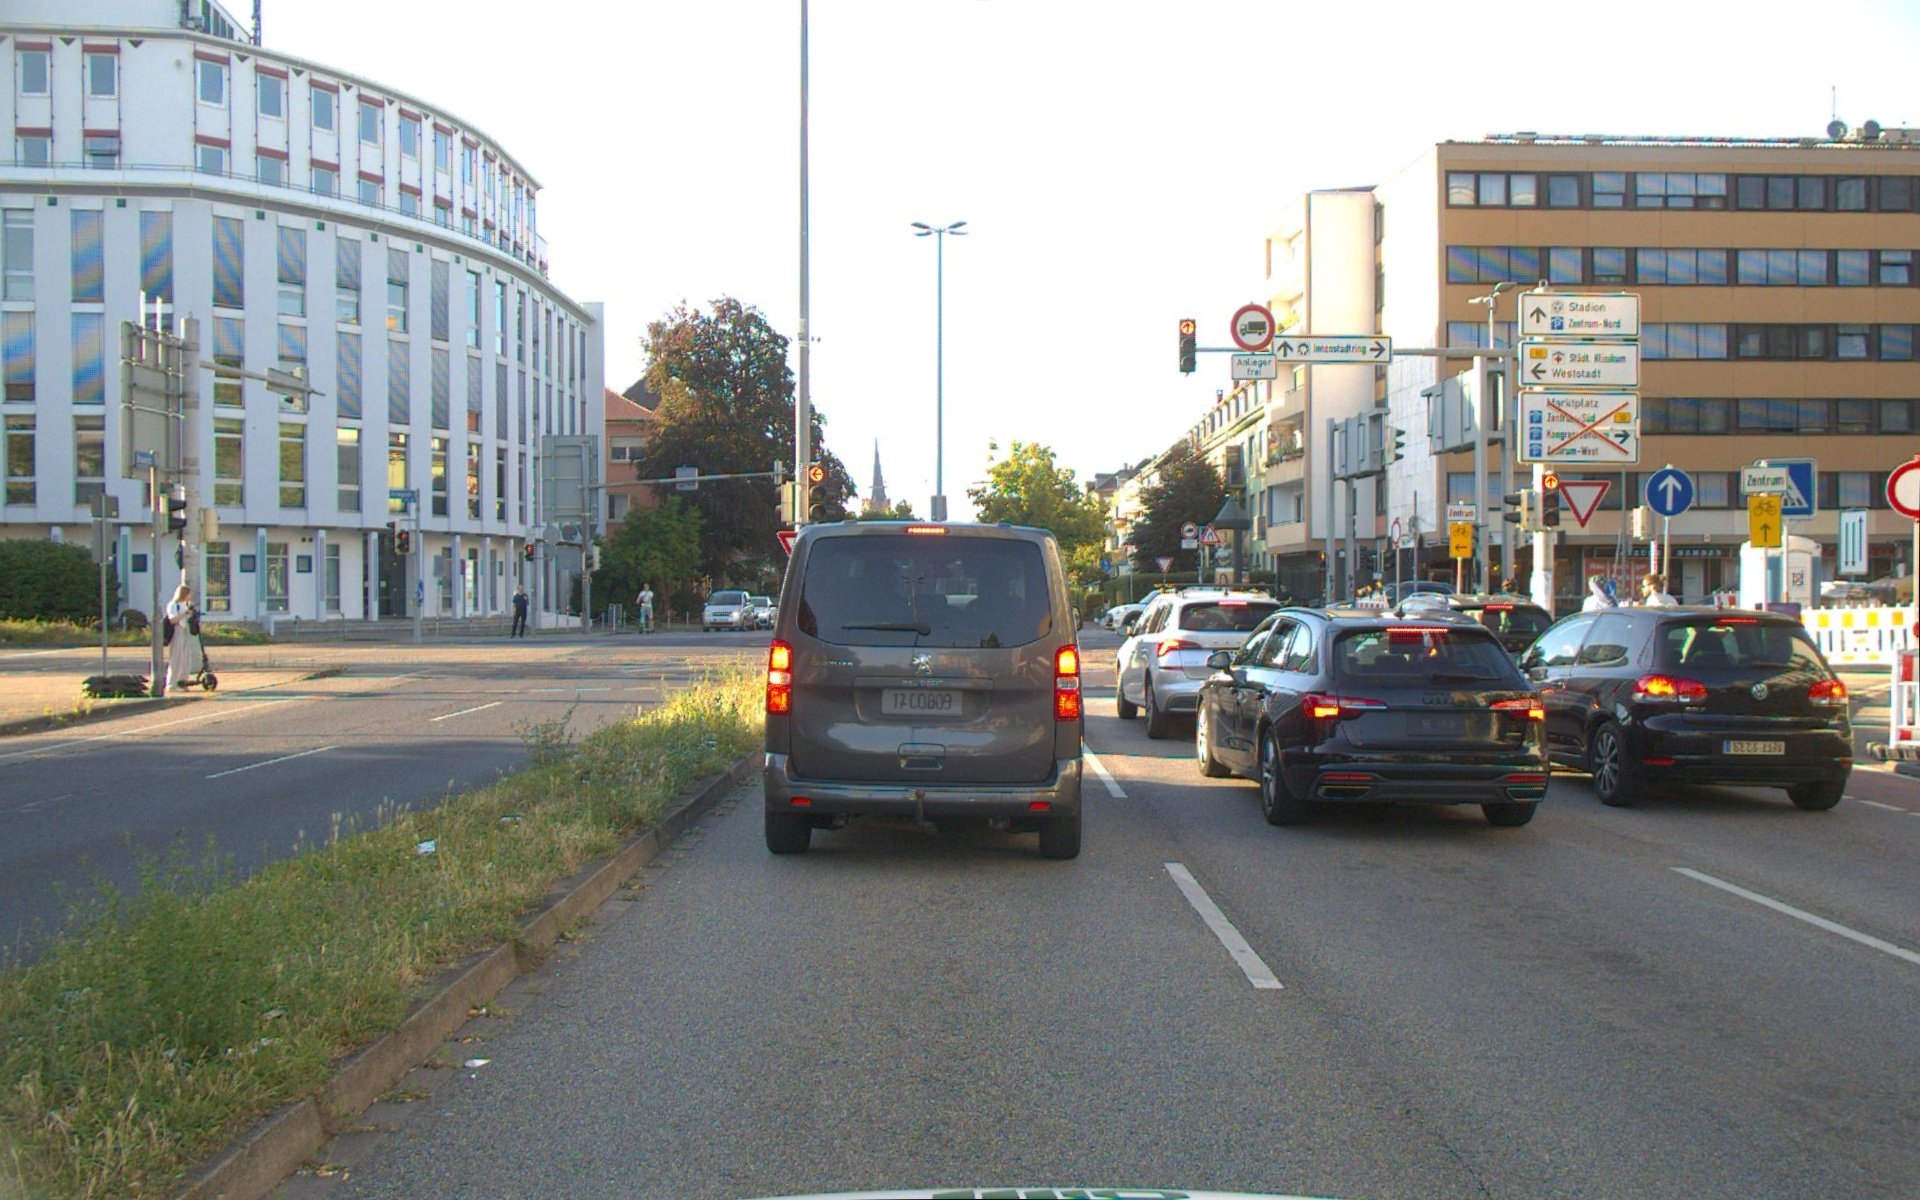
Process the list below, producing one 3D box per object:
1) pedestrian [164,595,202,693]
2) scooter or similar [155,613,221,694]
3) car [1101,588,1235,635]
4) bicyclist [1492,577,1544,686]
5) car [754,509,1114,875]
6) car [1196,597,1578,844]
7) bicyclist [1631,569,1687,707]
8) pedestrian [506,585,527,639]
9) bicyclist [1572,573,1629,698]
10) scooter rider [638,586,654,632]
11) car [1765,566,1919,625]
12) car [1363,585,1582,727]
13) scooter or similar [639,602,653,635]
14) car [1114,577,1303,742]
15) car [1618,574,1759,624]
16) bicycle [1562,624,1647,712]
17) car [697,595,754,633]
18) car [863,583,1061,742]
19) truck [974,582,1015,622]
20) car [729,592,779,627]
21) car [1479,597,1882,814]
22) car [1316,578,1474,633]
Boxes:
[{"bbox_3d":[-12.246,0.691,26.076,0.466,1.532,0.334,0,0,-13],"label":"pedestrian"},{"bbox_3d":[-12.125,0.832,25.990,0.877,1.255,0.370,0,0,-12],"label":"scooter or similar"},{"bbox_3d":[6.616,0.354,52.697,3.913,1.445,1.784,0,0,-9],"label":"car"},{"bbox_3d":[8.096,0.453,24.010,0.503,1.552,0.725,0,0,-1],"label":"bicyclist"},{"bbox_3d":[-0.161,0.471,10.977,1.868,1.896,4.526,1,0,-1],"label":"car"},{"bbox_3d":[2.887,0.725,12.122,1.647,1.446,4.213,1,0,-1],"label":"car"},{"bbox_3d":[7.989,0.430,18.915,0.432,1.552,0.482,0,0,-1],"label":"bicyclist"},{"bbox_3d":[-14.641,0.400,54.615,0.615,1.752,0.669,0,0,-14],"label":"pedestrian"},{"bbox_3d":[8.158,0.442,21.076,0.432,1.552,0.725,0,0,-1],"label":"bicyclist"},{"bbox_3d":[-11.748,0.324,61.866,0.471,1.727,0.636,0,0,-1],"label":"scooter rider"},{"bbox_3d":[28.793,-0.163,53.889,4.129,1.849,2.000,-1,0,-1],"label":"car"},{"bbox_3d":[5.801,0.577,19.071,1.474,1.474,3.304,0,0,-1],"label":"car"},{"bbox_3d":[-11.739,0.696,61.869,0.279,1.209,1.169,0,0,-1],"label":"scooter or similar"},{"bbox_3d":[2.700,0.591,18.645,1.497,1.641,3.744,1,0,-1],"label":"car"},{"bbox_3d":[22.511,-0.048,51.176,3.600,1.412,1.696,-2,0,-2],"label":"car"},{"bbox_3d":[8.155,0.835,20.994,0.329,1.025,1.855,0,0,-1],"label":"bicycle"},{"bbox_3d":[-9.297,0.539,65.825,1.818,1.445,3.998,-1,0,-2],"label":"car"},{"bbox_3d":[-0.002,0.605,18.331,1.953,1.557,3.999,0,0,-1],"label":"car"},{"bbox_3d":[1.877,0.085,92.329,2.085,2.123,4.630,-1,0,-1],"label":"truck"},{"bbox_3d":[-8.903,0.380,71.767,1.818,1.445,3.998,-1,0,-2],"label":"car"},{"bbox_3d":[5.647,0.740,13.479,1.600,1.474,3.744,1,0,-1],"label":"car"},{"bbox_3d":[13.051,0.151,49.732,4.256,1.576,1.785,0,0,-7],"label":"car"}]
